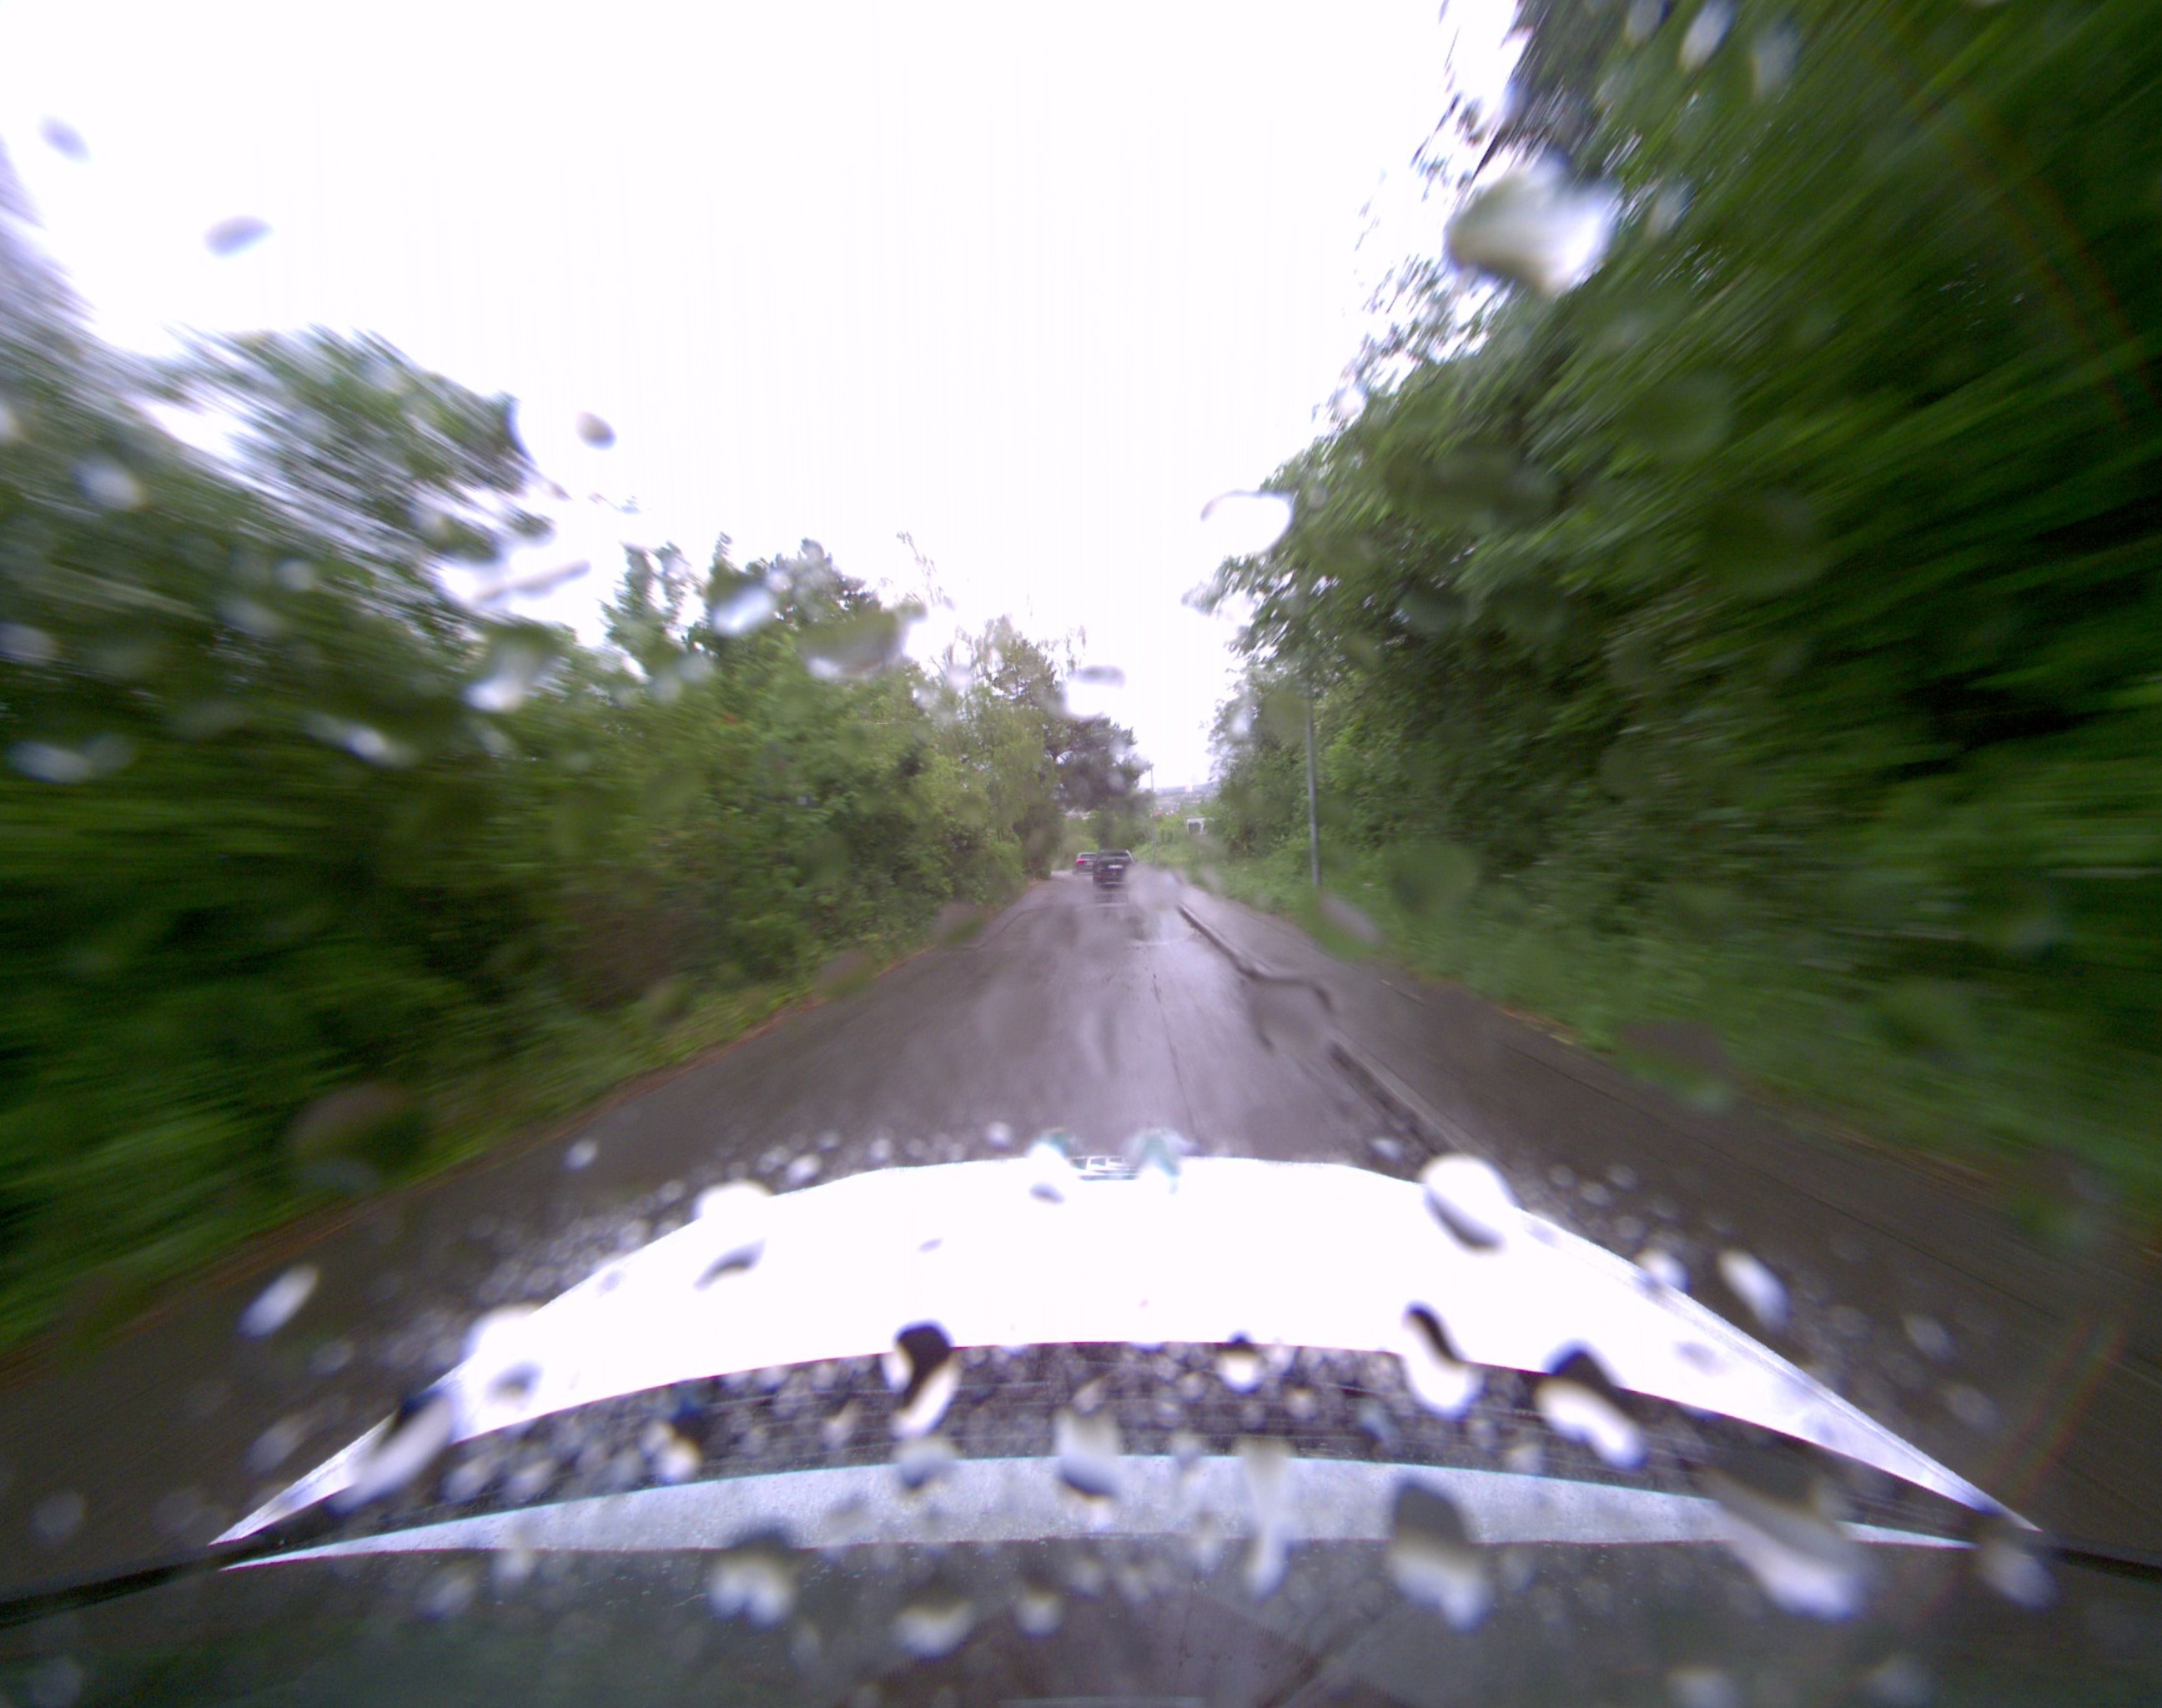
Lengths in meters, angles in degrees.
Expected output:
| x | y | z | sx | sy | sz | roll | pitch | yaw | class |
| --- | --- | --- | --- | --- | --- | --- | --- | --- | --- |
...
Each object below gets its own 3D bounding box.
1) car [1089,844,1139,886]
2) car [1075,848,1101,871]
| x | y | z | sx | sy | sz | roll | pitch | yaw | class |
| --- | --- | --- | --- | --- | --- | --- | --- | --- | --- |
| 1.290 | 0.415 | 32.835 | 1.828 | 1.464 | 4.001 | -3 | 0 | 1 | car |
| 0.465 | 0.358 | 57.585 | 1.673 | 1.565 | 3.792 | -2 | 1 | -2 | car |
